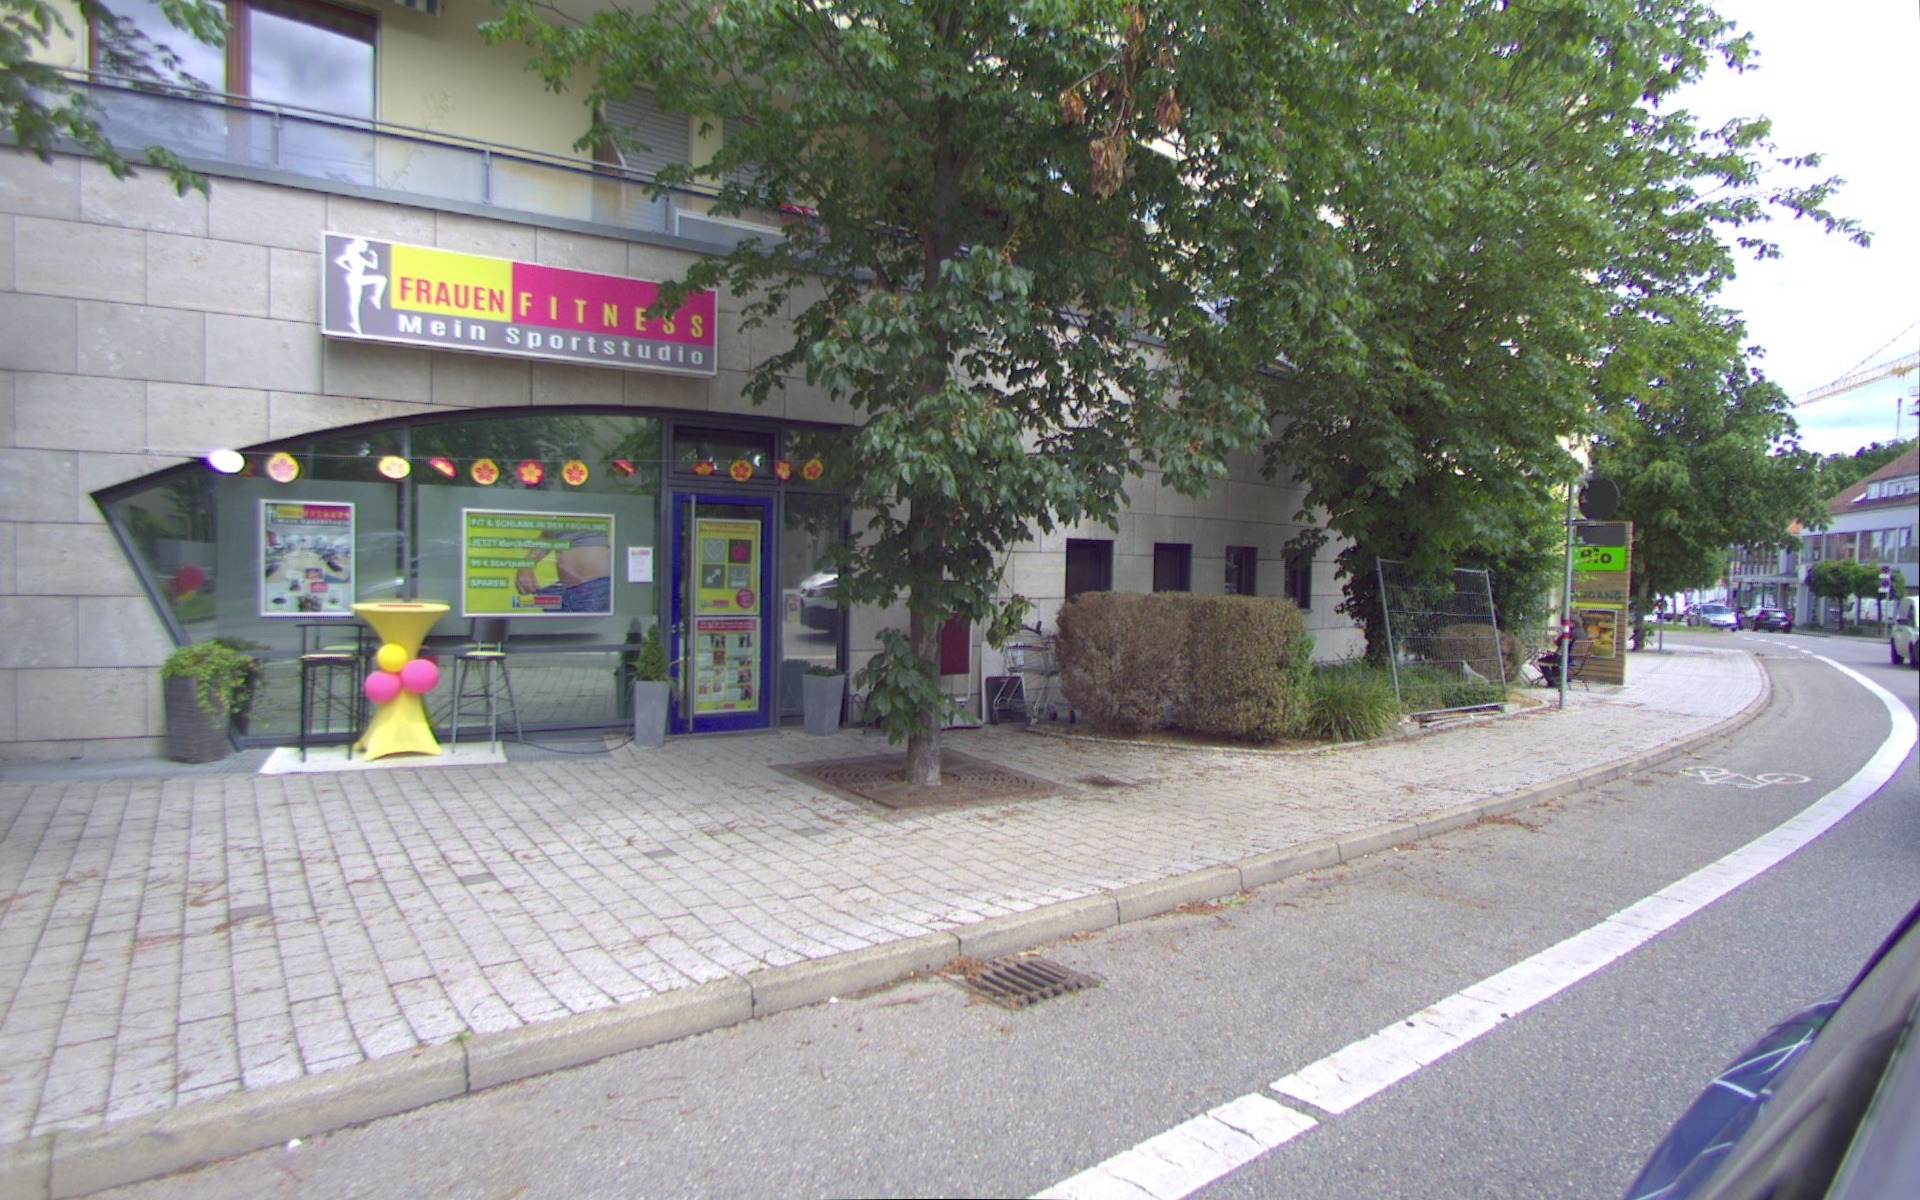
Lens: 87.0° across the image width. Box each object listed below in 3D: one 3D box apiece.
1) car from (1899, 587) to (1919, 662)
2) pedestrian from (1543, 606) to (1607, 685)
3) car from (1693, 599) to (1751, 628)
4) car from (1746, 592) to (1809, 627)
[{"bbox_3d":[24.737,0.588,24.930,1.841,1.839,3.949,0,0,35],"label":"car"},{"bbox_3d":[10.804,0.778,17.789,0.740,1.317,0.731,1,2,-41],"label":"pedestrian"},{"bbox_3d":[42.378,0.714,56.382,1.676,1.505,3.968,0,0,24],"label":"car"},{"bbox_3d":[47.627,0.522,59.039,1.722,1.874,3.969,2,2,23],"label":"car"}]
